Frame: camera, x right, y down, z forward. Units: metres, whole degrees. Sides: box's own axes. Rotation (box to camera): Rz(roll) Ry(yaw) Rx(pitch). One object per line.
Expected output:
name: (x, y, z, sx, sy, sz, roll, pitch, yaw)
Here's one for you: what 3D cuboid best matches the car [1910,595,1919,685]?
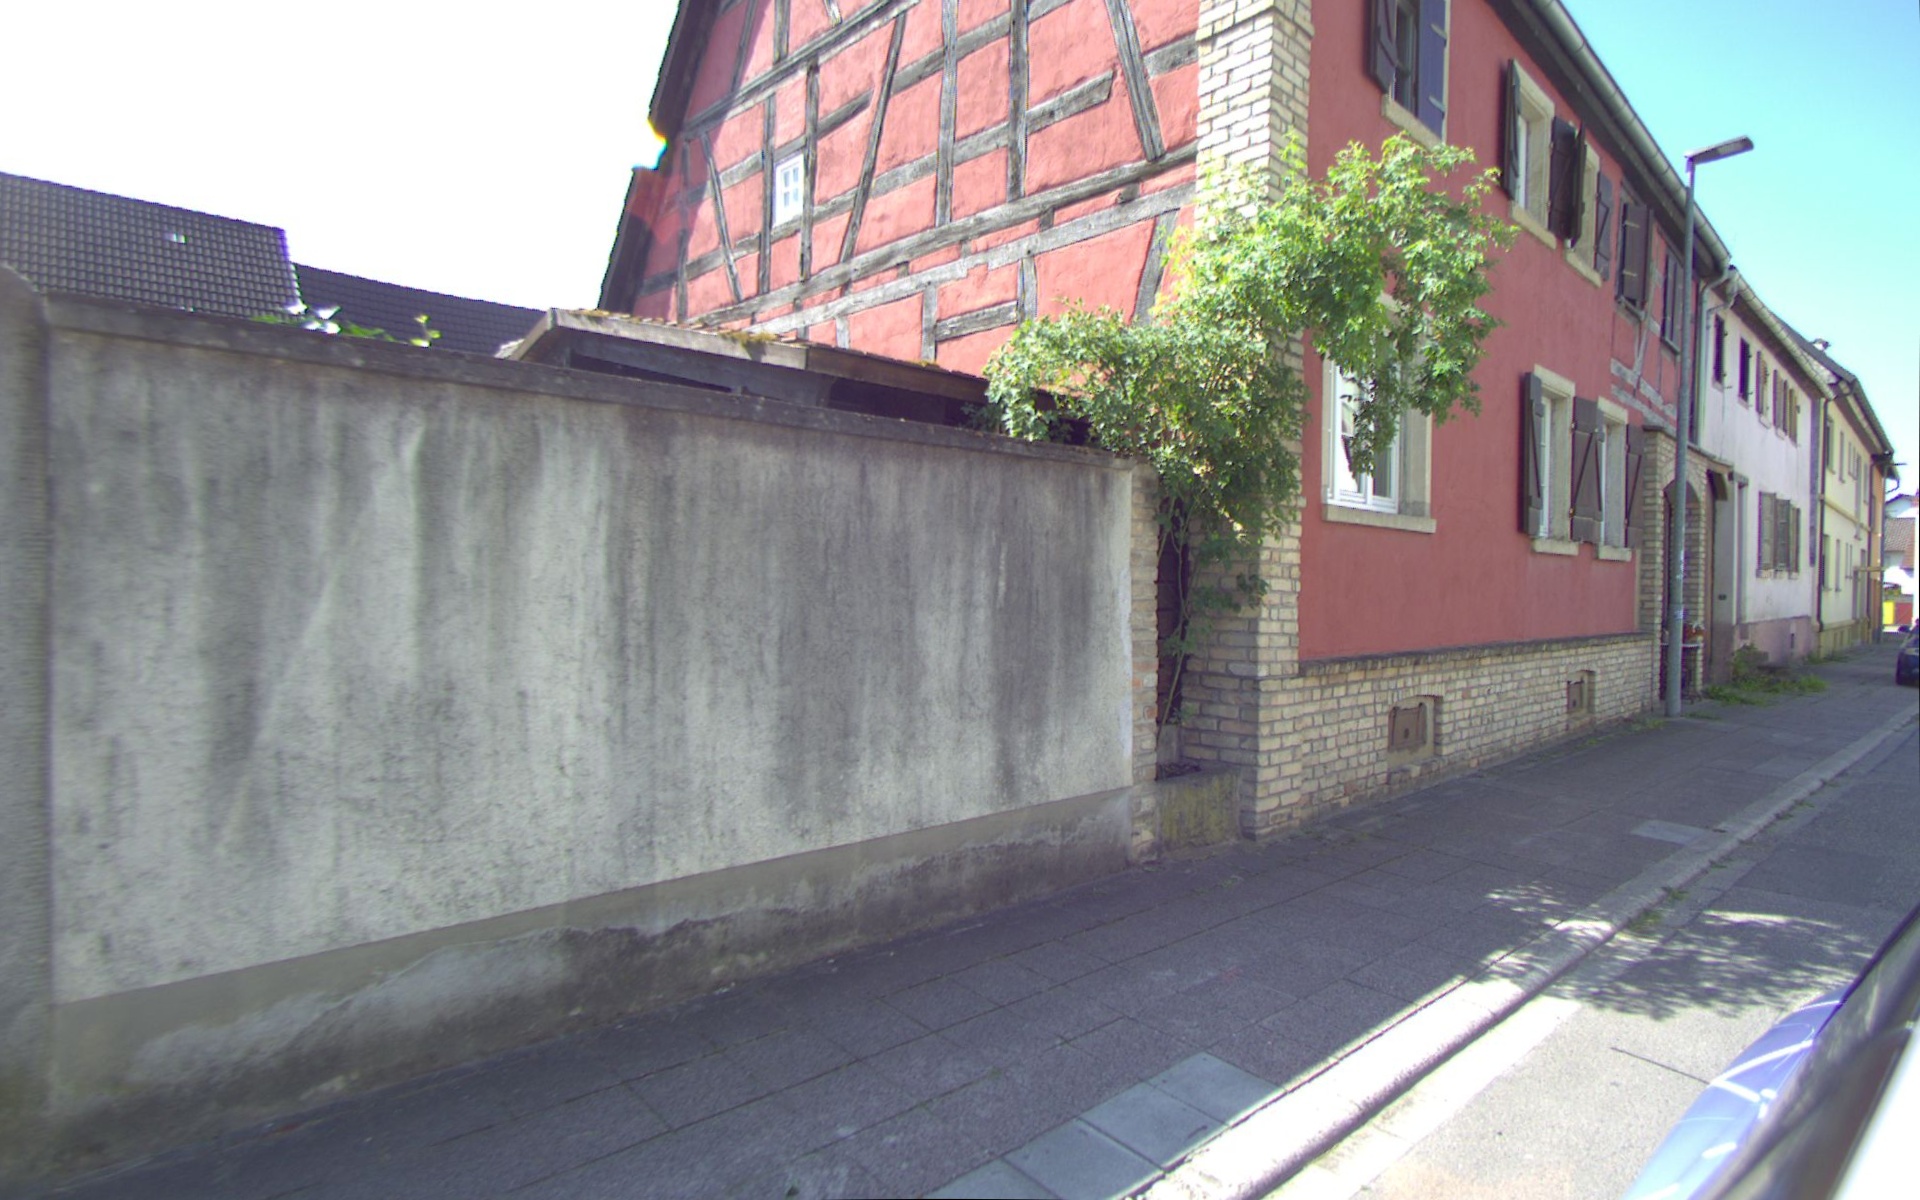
car: (18.057, 0.694, 17.826, 4.337, 1.487, 1.700, 0, 2, -44)
